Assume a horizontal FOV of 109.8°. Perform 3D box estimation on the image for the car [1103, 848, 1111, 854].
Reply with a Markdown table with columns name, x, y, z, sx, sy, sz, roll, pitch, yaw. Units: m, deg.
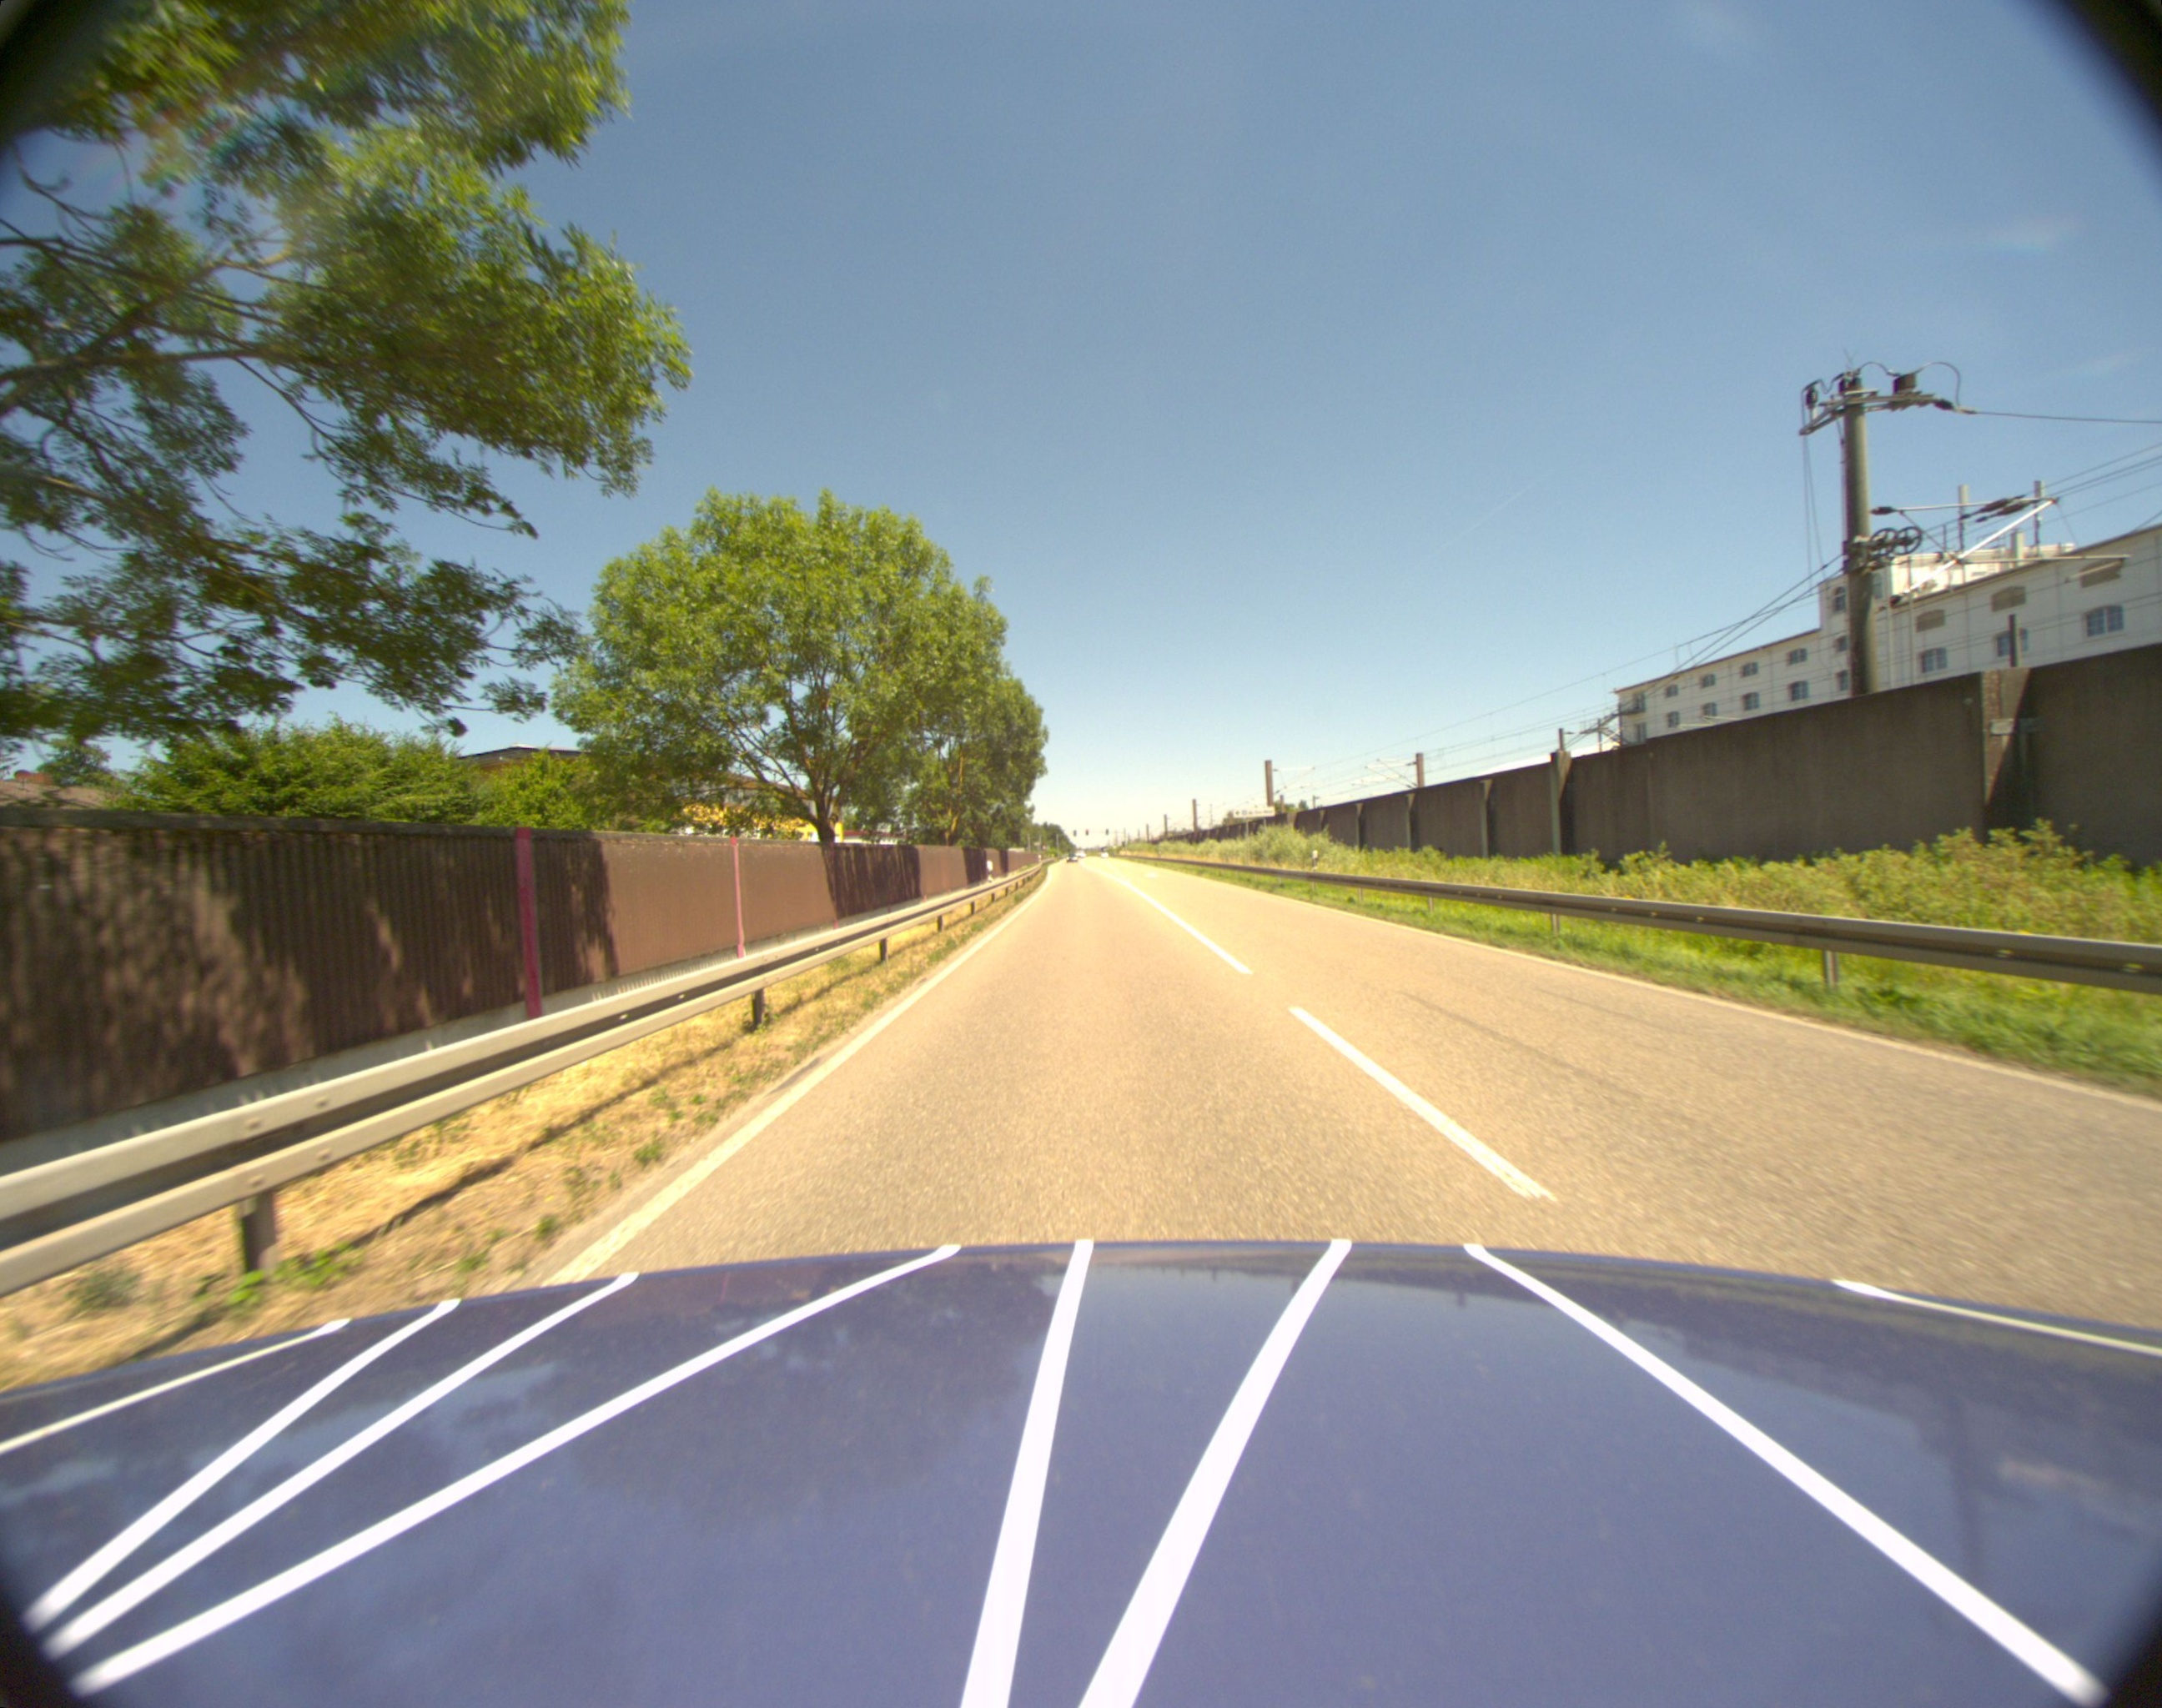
| name | x | y | z | sx | sy | sz | roll | pitch | yaw |
| --- | --- | --- | --- | --- | --- | --- | --- | --- | --- |
| car | 6.607 | -0.741 | 193.820 | 1.600 | 1.466 | 3.773 | -2 | 1 | -1 |

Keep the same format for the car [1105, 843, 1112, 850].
| name | x | y | z | sx | sy | sz | roll | pitch | yaw |
| --- | --- | --- | --- | --- | --- | --- | --- | --- | --- |
| car | 9.308 | -2.528 | 258.830 | 1.999 | 2.002 | 3.999 | -2 | 1 | 0 |

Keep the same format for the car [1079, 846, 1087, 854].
| name | x | y | z | sx | sy | sz | roll | pitch | yaw |
| --- | --- | --- | --- | --- | --- | --- | --- | --- | --- |
| car | 0.534 | -1.126 | 209.379 | 1.999 | 2.002 | 3.999 | -2 | 1 | 0 |

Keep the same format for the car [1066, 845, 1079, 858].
| name | x | y | z | sx | sy | sz | roll | pitch | yaw |
| --- | --- | --- | --- | --- | --- | --- | --- | --- | --- |
| car | -1.427 | -0.346 | 121.638 | 1.999 | 2.002 | 3.999 | -2 | 1 | -1 |
